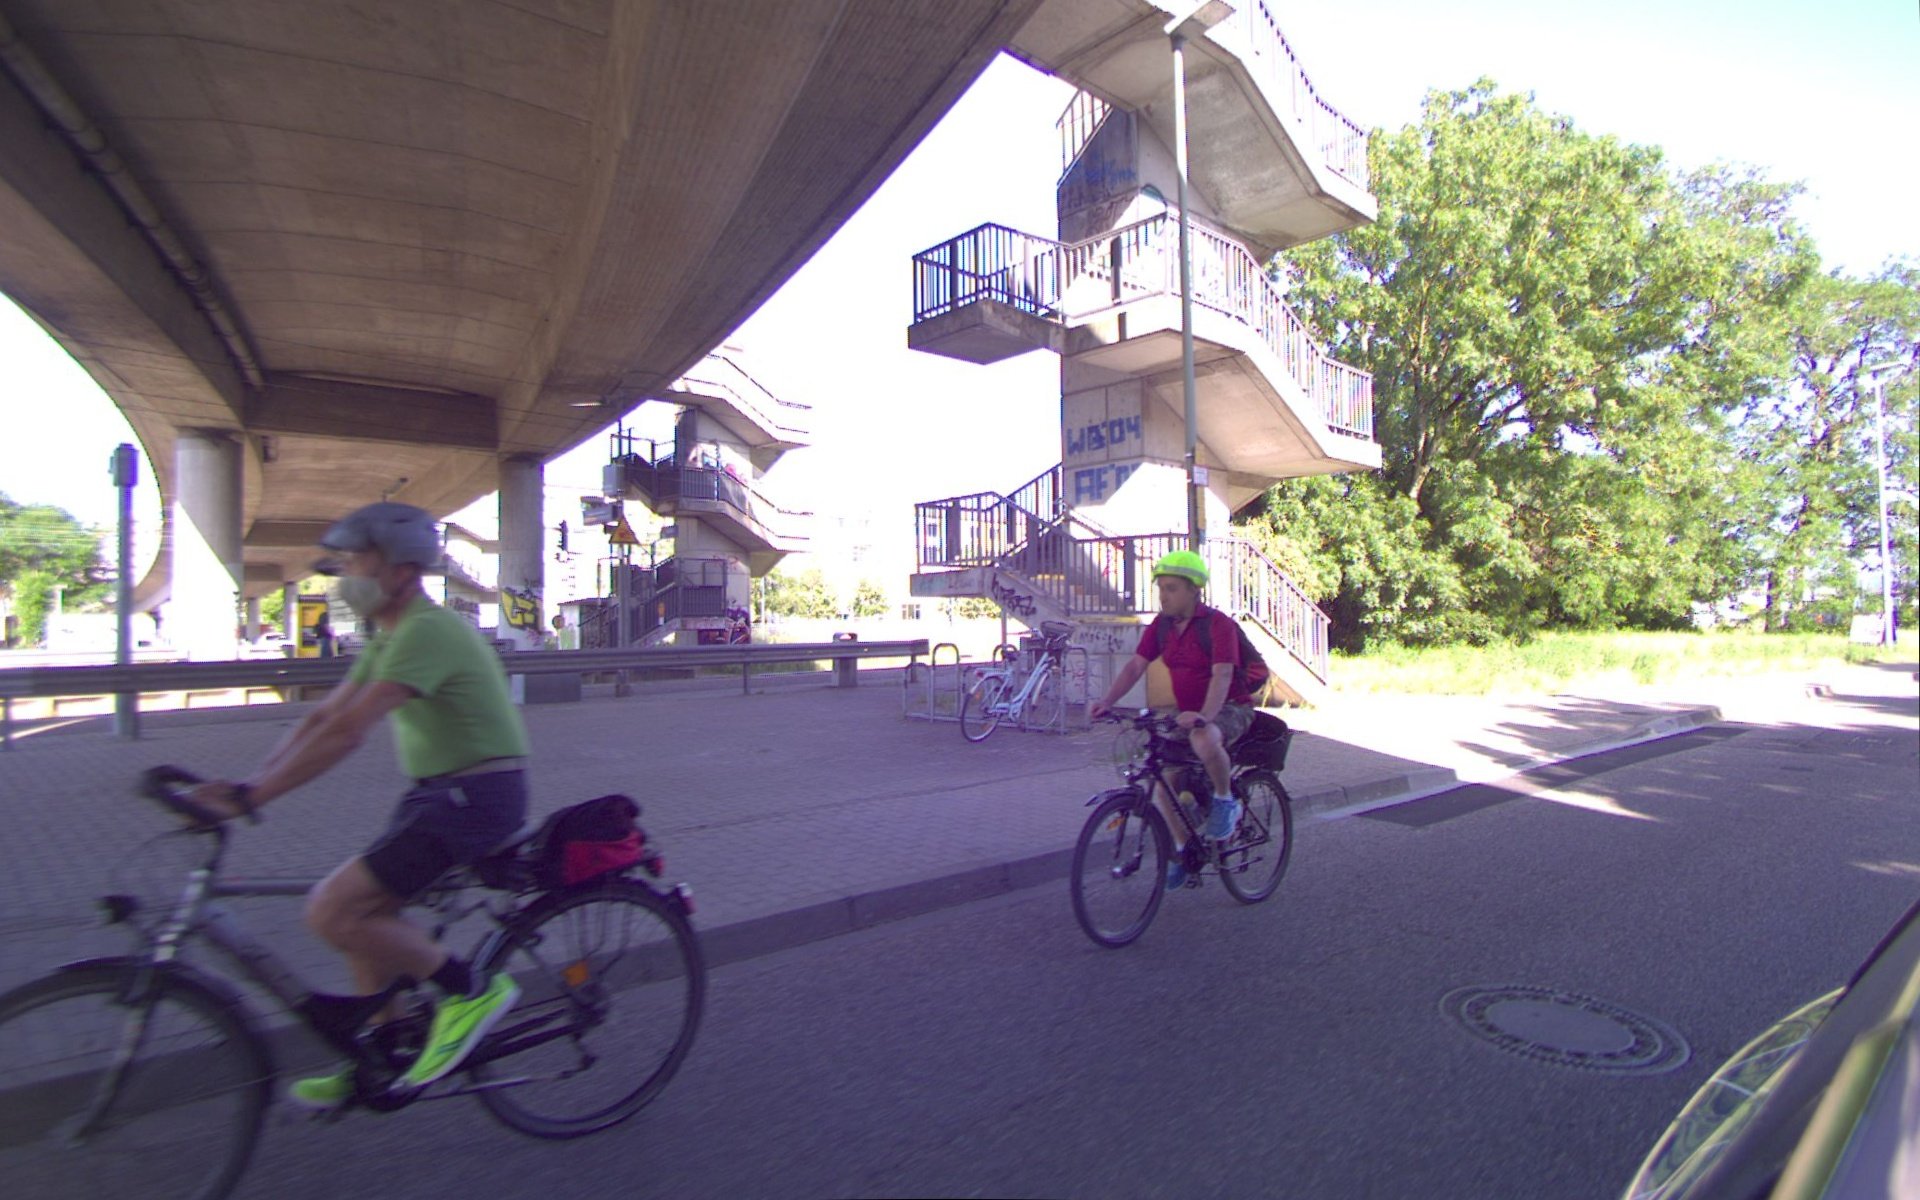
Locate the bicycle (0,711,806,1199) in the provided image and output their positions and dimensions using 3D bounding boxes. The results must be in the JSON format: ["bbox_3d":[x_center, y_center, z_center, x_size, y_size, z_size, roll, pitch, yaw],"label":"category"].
[{"bbox_3d":[-1.516,0.907,2.485,2.152,1.065,0.841,1,-2,-42],"label":"bicycle"}]

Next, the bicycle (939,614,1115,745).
[{"bbox_3d":[0.738,0.754,10.384,0.596,1.197,2.148,-1,-1,42],"label":"bicycle"}]

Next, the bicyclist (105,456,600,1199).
[{"bbox_3d":[-1.503,0.493,2.507,0.908,1.508,0.842,1,-2,-42],"label":"bicyclist"}]

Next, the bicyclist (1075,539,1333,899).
[{"bbox_3d":[1.172,0.507,4.871,0.908,1.508,0.841,1,-2,-44],"label":"bicyclist"}]

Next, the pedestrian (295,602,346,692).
[{"bbox_3d":[-14.962,1.086,23.680,0.822,2.040,0.893,1,-2,-45],"label":"pedestrian"}]

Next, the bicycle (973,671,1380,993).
[{"bbox_3d":[1.116,0.929,4.799,2.154,1.065,0.841,1,-2,-45],"label":"bicycle"}]
